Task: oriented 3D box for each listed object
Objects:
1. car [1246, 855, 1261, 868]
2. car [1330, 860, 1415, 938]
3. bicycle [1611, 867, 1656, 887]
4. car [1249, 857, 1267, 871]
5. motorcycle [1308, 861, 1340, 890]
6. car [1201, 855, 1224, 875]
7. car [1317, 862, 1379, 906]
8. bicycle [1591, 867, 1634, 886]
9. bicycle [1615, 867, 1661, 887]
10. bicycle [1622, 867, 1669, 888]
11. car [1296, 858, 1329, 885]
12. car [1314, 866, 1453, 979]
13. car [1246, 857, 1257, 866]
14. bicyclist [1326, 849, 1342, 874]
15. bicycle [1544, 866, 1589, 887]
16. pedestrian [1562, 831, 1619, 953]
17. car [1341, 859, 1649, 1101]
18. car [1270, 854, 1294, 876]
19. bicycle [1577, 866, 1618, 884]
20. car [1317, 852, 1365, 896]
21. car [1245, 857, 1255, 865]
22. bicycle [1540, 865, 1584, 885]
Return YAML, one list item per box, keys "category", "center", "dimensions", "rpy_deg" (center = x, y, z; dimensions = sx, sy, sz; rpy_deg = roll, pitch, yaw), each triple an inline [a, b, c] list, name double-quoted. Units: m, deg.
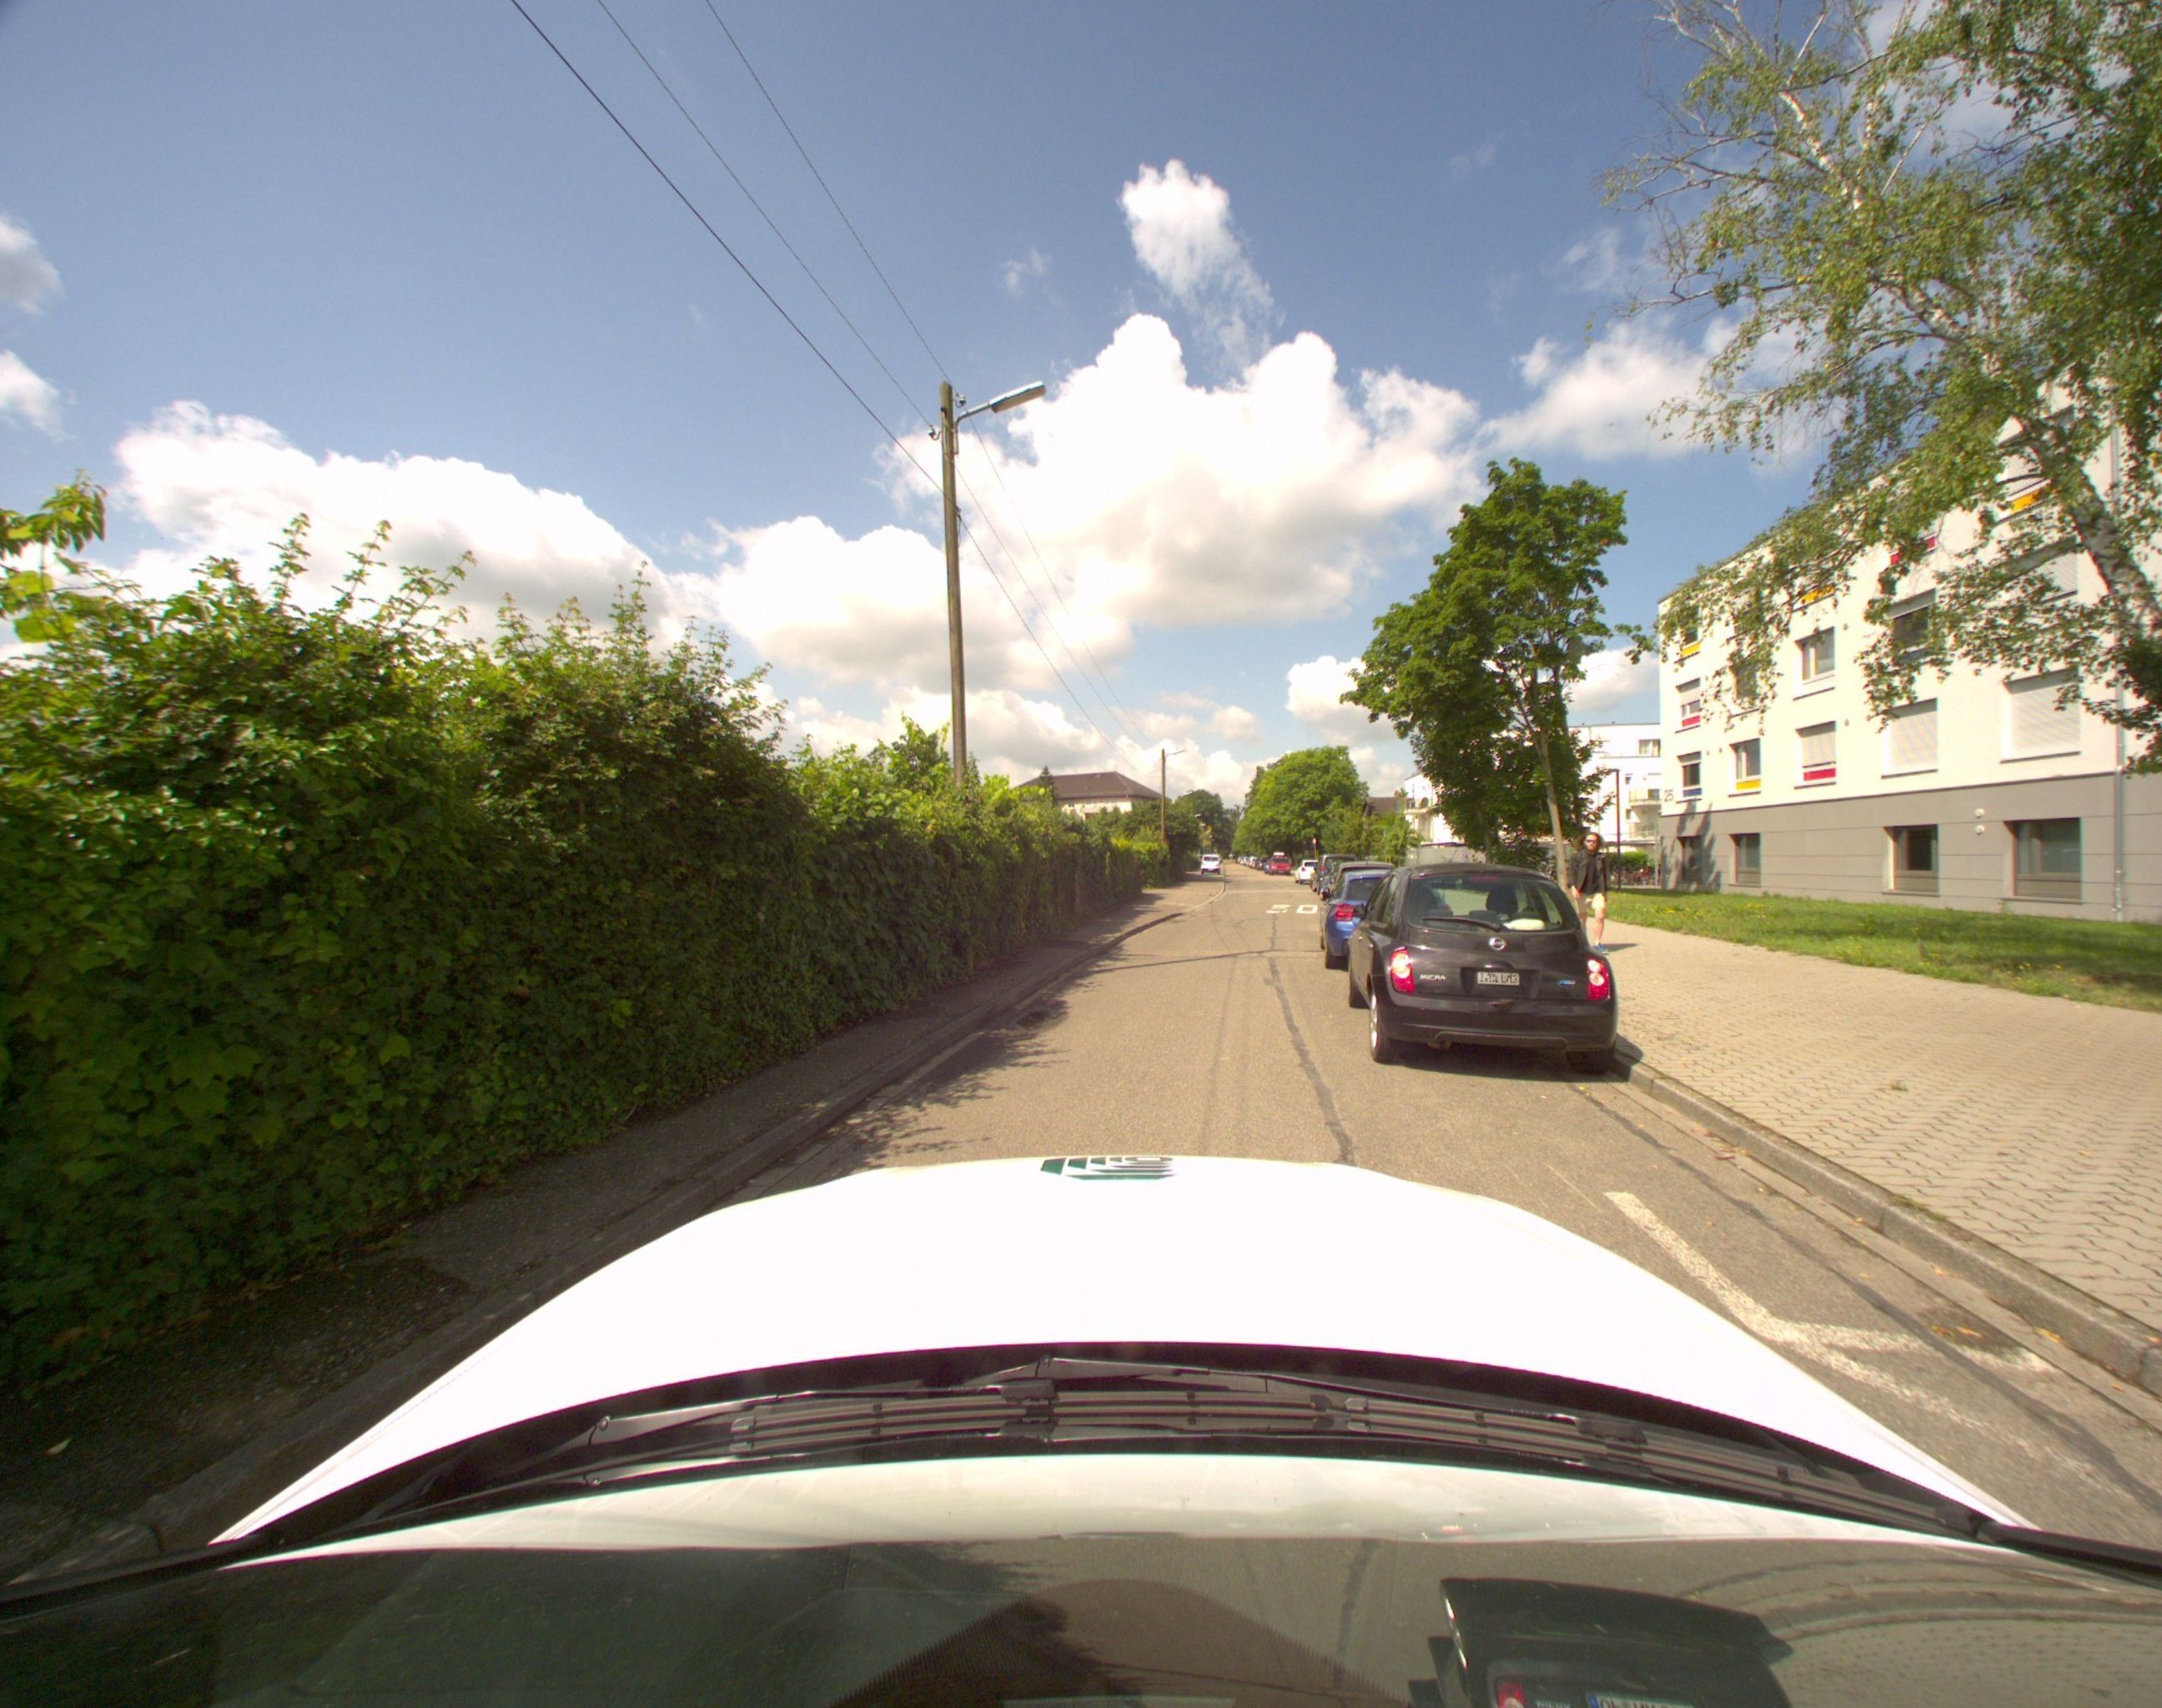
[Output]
- category: "car"
  center: [26.197, 1.132, 123.626]
  dimensions: [2.044, 1.962, 4.556]
  rpy_deg: [1, -1, 13]
- category: "car"
  center: [6.563, 0.944, 18.608]
  dimensions: [1.650, 1.552, 3.653]
  rpy_deg: [1, -1, 17]
- category: "bicycle"
  center: [31.835, 1.306, 46.957]
  dimensions: [2.033, 1.079, 0.690]
  rpy_deg: [-2, -1, 13]
- category: "car"
  center: [21.499, 1.228, 98.806]
  dimensions: [2.044, 1.652, 4.556]
  rpy_deg: [1, -1, 13]
- category: "motorcycle"
  center: [11.798, 1.048, 39.571]
  dimensions: [1.418, 1.362, 0.872]
  rpy_deg: [1, -1, 11]
- category: "car"
  center: [12.208, 1.026, 75.358]
  dimensions: [1.890, 1.814, 4.014]
  rpy_deg: [1, -1, 13]
- category: "car"
  center: [9.377, 1.020, 28.789]
  dimensions: [1.653, 1.435, 3.552]
  rpy_deg: [1, -1, 11]
- category: "bicycle"
  center: [32.069, 1.331, 49.117]
  dimensions: [2.033, 1.079, 0.690]
  rpy_deg: [-2, -1, 13]
- category: "bicycle"
  center: [31.597, 1.301, 46.214]
  dimensions: [2.033, 1.079, 0.690]
  rpy_deg: [-2, -1, 13]
- category: "bicycle"
  center: [31.359, 1.299, 45.277]
  dimensions: [2.033, 1.079, 0.690]
  rpy_deg: [-2, -1, 13]
- category: "car"
  center: [13.897, 1.013, 49.083]
  dimensions: [1.667, 1.519, 4.014]
  rpy_deg: [1, -1, 13]
- category: "car"
  center: [4.593, 0.921, 12.872]
  dimensions: [1.651, 1.440, 4.223]
  rpy_deg: [1, -1, 15]
- category: "car"
  center: [31.947, 1.400, 152.872]
  dimensions: [1.838, 1.618, 4.016]
  rpy_deg: [-1, -1, 15]
- category: "bicyclist"
  center: [18.253, 0.507, 58.683]
  dimensions: [0.777, 1.785, 0.899]
  rpy_deg: [0, -1, 42]
- category: "bicycle"
  center: [27.425, 1.250, 46.004]
  dimensions: [2.073, 1.119, 0.627]
  rpy_deg: [-2, -1, 14]
- category: "pedestrian"
  center: [7.528, 0.544, 12.047]
  dimensions: [0.605, 1.745, 0.726]
  rpy_deg: [1, -1, 23]
- category: "car"
  center: [3.306, 0.822, 7.294]
  dimensions: [1.651, 1.506, 4.016]
  rpy_deg: [1, -1, 15]
- category: "car"
  center: [18.285, 0.965, 74.313]
  dimensions: [2.044, 1.926, 4.556]
  rpy_deg: [1, -1, 13]
- category: "bicycle"
  center: [32.637, 1.334, 51.510]
  dimensions: [2.033, 1.079, 0.690]
  rpy_deg: [-2, -1, 13]
- category: "car"
  center: [11.405, 0.867, 35.884]
  dimensions: [1.860, 1.806, 3.445]
  rpy_deg: [1, -1, 15]
- category: "car"
  center: [34.711, 1.426, 167.436]
  dimensions: [1.838, 1.618, 4.015]
  rpy_deg: [1, -1, 15]
- category: "bicycle"
  center: [28.036, 1.237, 47.485]
  dimensions: [2.033, 1.079, 0.690]
  rpy_deg: [-2, -1, 13]
